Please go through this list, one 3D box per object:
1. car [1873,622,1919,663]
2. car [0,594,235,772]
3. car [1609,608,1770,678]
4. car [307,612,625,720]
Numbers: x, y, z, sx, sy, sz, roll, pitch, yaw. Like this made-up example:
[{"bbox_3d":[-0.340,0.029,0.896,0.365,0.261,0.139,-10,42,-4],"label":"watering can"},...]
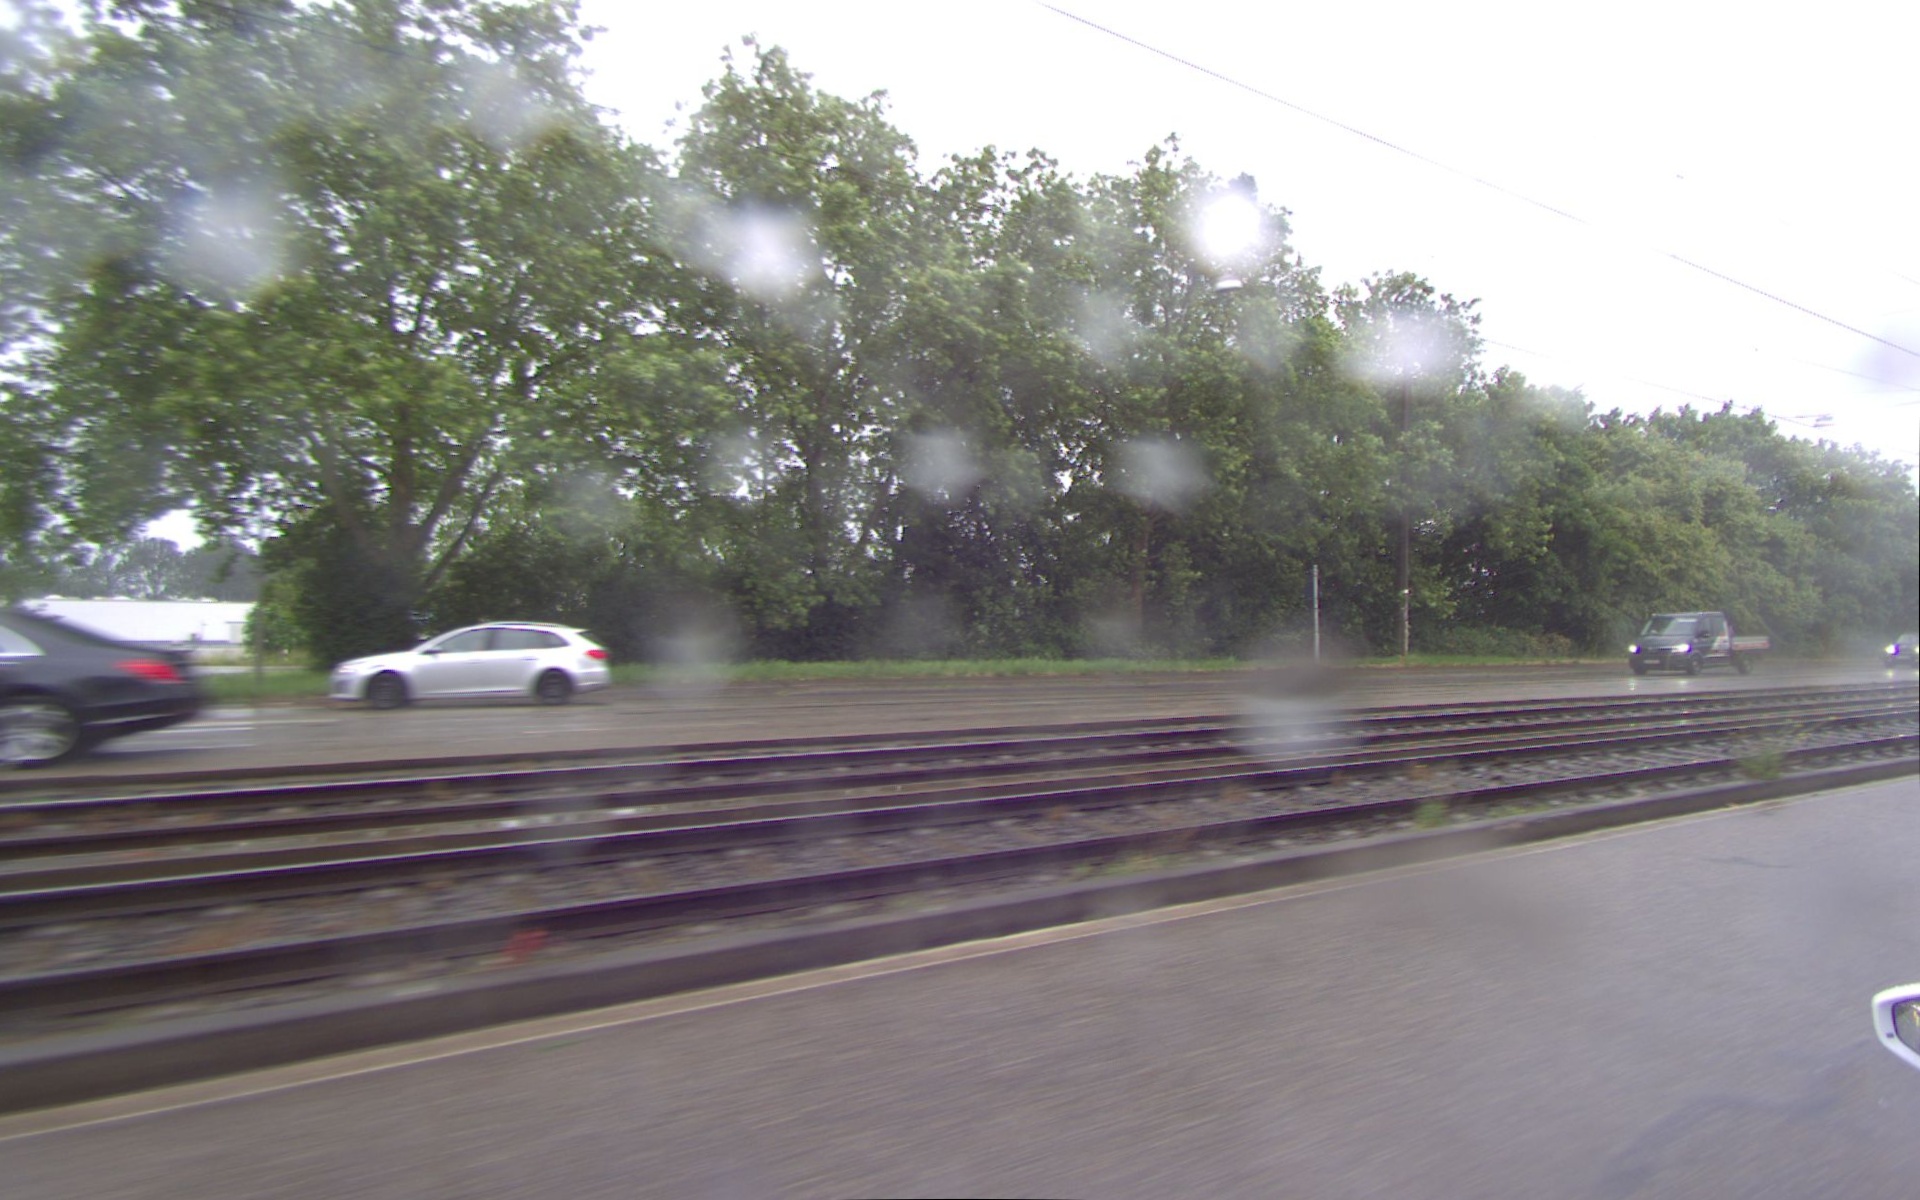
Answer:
[{"bbox_3d":[44.382,1.950,46.493,4.109,1.740,1.834,0,1,-28],"label":"car"},{"bbox_3d":[-10.218,0.745,9.217,5.615,1.606,1.767,0,1,-31],"label":"car"},{"bbox_3d":[27.014,1.505,37.121,6.903,2.374,2.090,0,1,-29],"label":"car"},{"bbox_3d":[-8.750,1.103,18.255,4.947,1.729,1.816,0,1,-22],"label":"car"}]
